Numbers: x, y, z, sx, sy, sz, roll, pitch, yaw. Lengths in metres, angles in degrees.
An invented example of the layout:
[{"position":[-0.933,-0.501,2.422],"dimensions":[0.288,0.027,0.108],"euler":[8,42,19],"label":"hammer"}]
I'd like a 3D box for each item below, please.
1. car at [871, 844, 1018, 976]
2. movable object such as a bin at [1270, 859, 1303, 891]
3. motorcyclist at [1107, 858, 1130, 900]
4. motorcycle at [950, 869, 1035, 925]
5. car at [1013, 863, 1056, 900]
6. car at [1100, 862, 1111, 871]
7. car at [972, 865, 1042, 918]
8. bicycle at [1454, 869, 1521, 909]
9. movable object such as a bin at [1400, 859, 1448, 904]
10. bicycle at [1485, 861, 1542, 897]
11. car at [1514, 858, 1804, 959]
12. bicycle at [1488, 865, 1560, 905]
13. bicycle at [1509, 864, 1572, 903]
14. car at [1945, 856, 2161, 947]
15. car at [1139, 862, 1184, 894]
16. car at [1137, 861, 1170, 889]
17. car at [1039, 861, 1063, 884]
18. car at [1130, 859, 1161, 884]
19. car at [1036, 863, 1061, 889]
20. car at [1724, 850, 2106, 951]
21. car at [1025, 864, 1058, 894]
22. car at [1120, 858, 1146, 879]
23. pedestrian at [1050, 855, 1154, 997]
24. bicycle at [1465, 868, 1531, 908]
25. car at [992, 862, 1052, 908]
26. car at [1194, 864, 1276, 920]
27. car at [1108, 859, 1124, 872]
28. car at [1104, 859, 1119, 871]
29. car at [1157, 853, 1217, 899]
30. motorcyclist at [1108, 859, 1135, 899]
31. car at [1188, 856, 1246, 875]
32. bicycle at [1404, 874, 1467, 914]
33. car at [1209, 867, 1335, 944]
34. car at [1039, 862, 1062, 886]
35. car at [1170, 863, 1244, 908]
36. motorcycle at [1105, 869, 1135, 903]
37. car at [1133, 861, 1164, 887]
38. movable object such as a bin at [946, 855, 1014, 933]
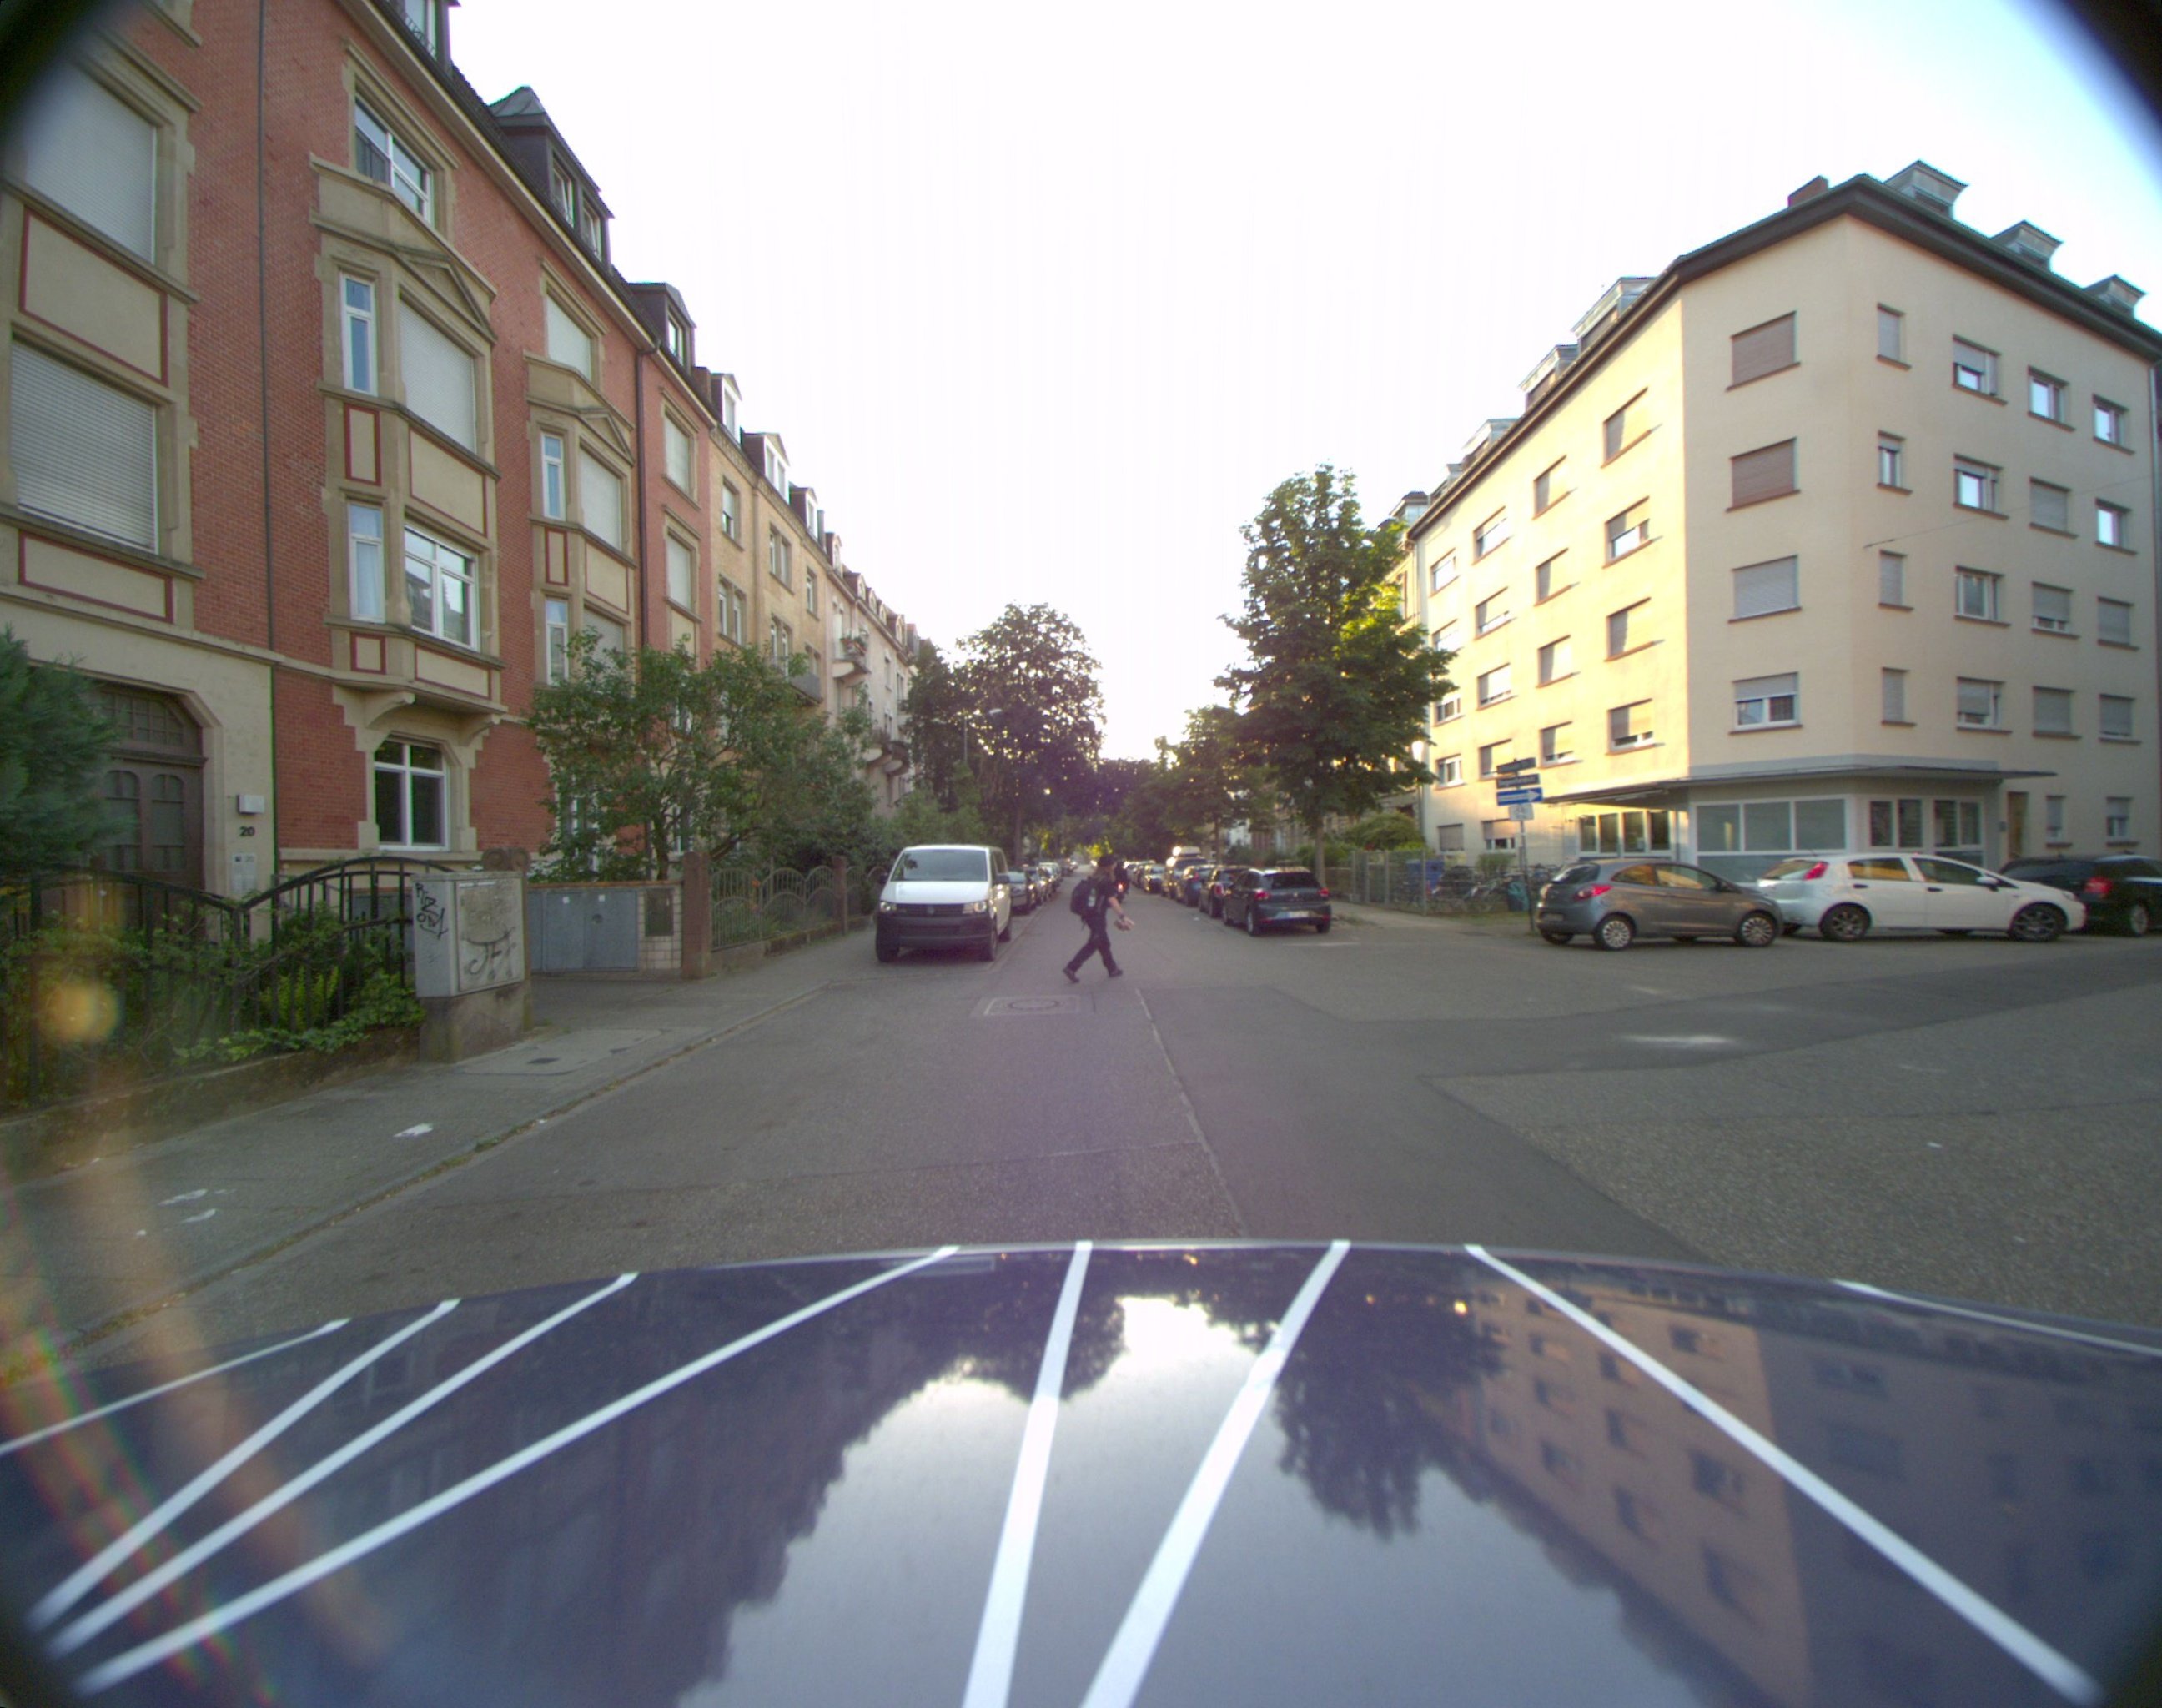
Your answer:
[{"position":[-2.329,0.878,14.493],"dimensions":[1.866,2.027,5.544],"euler":[0,0,-1],"label":"car"},{"position":[9.273,0.929,34.415],"dimensions":[0.948,1.379,1.551],"euler":[-3,0,-3],"label":"movable object such as a bin"},{"position":[1.412,0.942,28.588],"dimensions":[0.788,1.531,0.546],"euler":[2,1,10],"label":"motorcyclist"},{"position":[-2.486,1.184,21.387],"dimensions":[2.099,1.473,1.130],"euler":[0,0,-33],"label":"motorcycle"},{"position":[-2.112,1.255,35.259],"dimensions":[1.590,1.516,3.603],"euler":[-3,0,2],"label":"car"},{"position":[4.740,2.417,148.413],"dimensions":[1.840,1.484,3.641],"euler":[-2,0,0],"label":"car"},{"position":[-2.384,1.188,25.510],"dimensions":[1.724,1.542,4.326],"euler":[-2,0,2],"label":"car"},{"position":[11.451,0.982,21.448],"dimensions":[0.502,1.086,1.545],"euler":[-3,0,-37],"label":"bicycle"},{"position":[10.945,0.865,24.287],"dimensions":[0.868,1.344,1.398],"euler":[-3,0,2],"label":"movable object such as a bin"},{"position":[13.820,0.789,24.266],"dimensions":[1.548,1.086,0.500],"euler":[-3,0,-6],"label":"bicycle"},{"position":[9.683,0.877,12.967],"dimensions":[3.515,1.498,1.845],"euler":[-2,-1,-1],"label":"car"},{"position":[12.559,0.880,21.586],"dimensions":[0.386,1.086,1.707],"euler":[-3,0,-36],"label":"bicycle"},{"position":[13.963,0.882,23.096],"dimensions":[1.635,1.086,0.500],"euler":[-3,0,-6],"label":"bicycle"},{"position":[18.586,0.792,13.991],"dimensions":[4.082,1.430,1.996],"euler":[-1,-1,-16],"label":"car"},{"position":[4.087,1.196,39.147],"dimensions":[1.733,1.433,4.024],"euler":[-2,0,-2],"label":"car"},{"position":[4.134,1.181,43.863],"dimensions":[1.441,1.485,3.298],"euler":[-2,0,-2],"label":"car"},{"position":[-2.280,1.390,58.360],"dimensions":[1.737,1.691,4.168],"euler":[-2,0,-2],"label":"car"},{"position":[4.505,1.186,53.363],"dimensions":[1.866,1.653,4.021],"euler":[-2,0,1],"label":"car"},{"position":[-2.061,1.369,48.346],"dimensions":[1.479,1.498,3.928],"euler":[-2,0,-2],"label":"car"},{"position":[14.206,0.777,13.258],"dimensions":[4.066,1.499,1.975],"euler":[-3,0,12],"label":"car"},{"position":[-2.186,1.363,43.125],"dimensions":[1.737,1.498,4.163],"euler":[-2,0,-2],"label":"car"},{"position":[4.421,1.210,64.921],"dimensions":[1.677,1.627,3.940],"euler":[-2,0,-3],"label":"car"},{"position":[0.275,0.901,10.004],"dimensions":[0.960,1.712,0.889],"euler":[-3,0,-32],"label":"pedestrian"},{"position":[11.906,0.956,21.707],"dimensions":[0.502,1.086,1.545],"euler":[-3,0,-37],"label":"bicycle"},{"position":[-2.293,1.195,30.763],"dimensions":[1.761,1.573,4.842],"euler":[-3,0,2],"label":"car"},{"position":[4.492,1.073,22.739],"dimensions":[1.746,1.412,4.143],"euler":[-2,0,2],"label":"car"},{"position":[4.523,1.497,98.600],"dimensions":[1.953,1.484,3.738],"euler":[-2,0,0],"label":"car"},{"position":[4.195,1.480,104.240],"dimensions":[1.840,1.484,3.641],"euler":[-2,0,0],"label":"car"},{"position":[4.496,0.894,32.901],"dimensions":[1.866,1.768,4.623],"euler":[-2,0,-1],"label":"car"},{"position":[1.563,0.950,29.353],"dimensions":[0.891,1.496,0.970],"euler":[2,1,10],"label":"motorcyclist"},{"position":[11.122,0.926,62.373],"dimensions":[4.413,1.333,1.626],"euler":[-2,0,1],"label":"car"},{"position":[9.898,1.093,21.296],"dimensions":[0.689,1.019,1.931],"euler":[-3,0,-5],"label":"bicycle"},{"position":[4.320,1.098,17.914],"dimensions":[1.679,1.453,4.463],"euler":[-2,0,-2],"label":"car"},{"position":[-2.112,1.372,52.742],"dimensions":[1.502,1.538,3.338],"euler":[-2,0,-2],"label":"car"},{"position":[4.504,1.090,27.895],"dimensions":[1.866,1.404,4.590],"euler":[-2,0,-1],"label":"car"},{"position":[1.526,1.218,29.213],"dimensions":[0.848,1.202,2.076],"euler":[2,0,10],"label":"motorcycle"},{"position":[4.256,1.259,48.322],"dimensions":[1.682,1.489,3.626],"euler":[-2,0,2],"label":"car"},{"position":[-2.539,0.966,19.437],"dimensions":[1.415,1.867,2.324],"euler":[1,0,0],"label":"movable object such as a bin"}]
